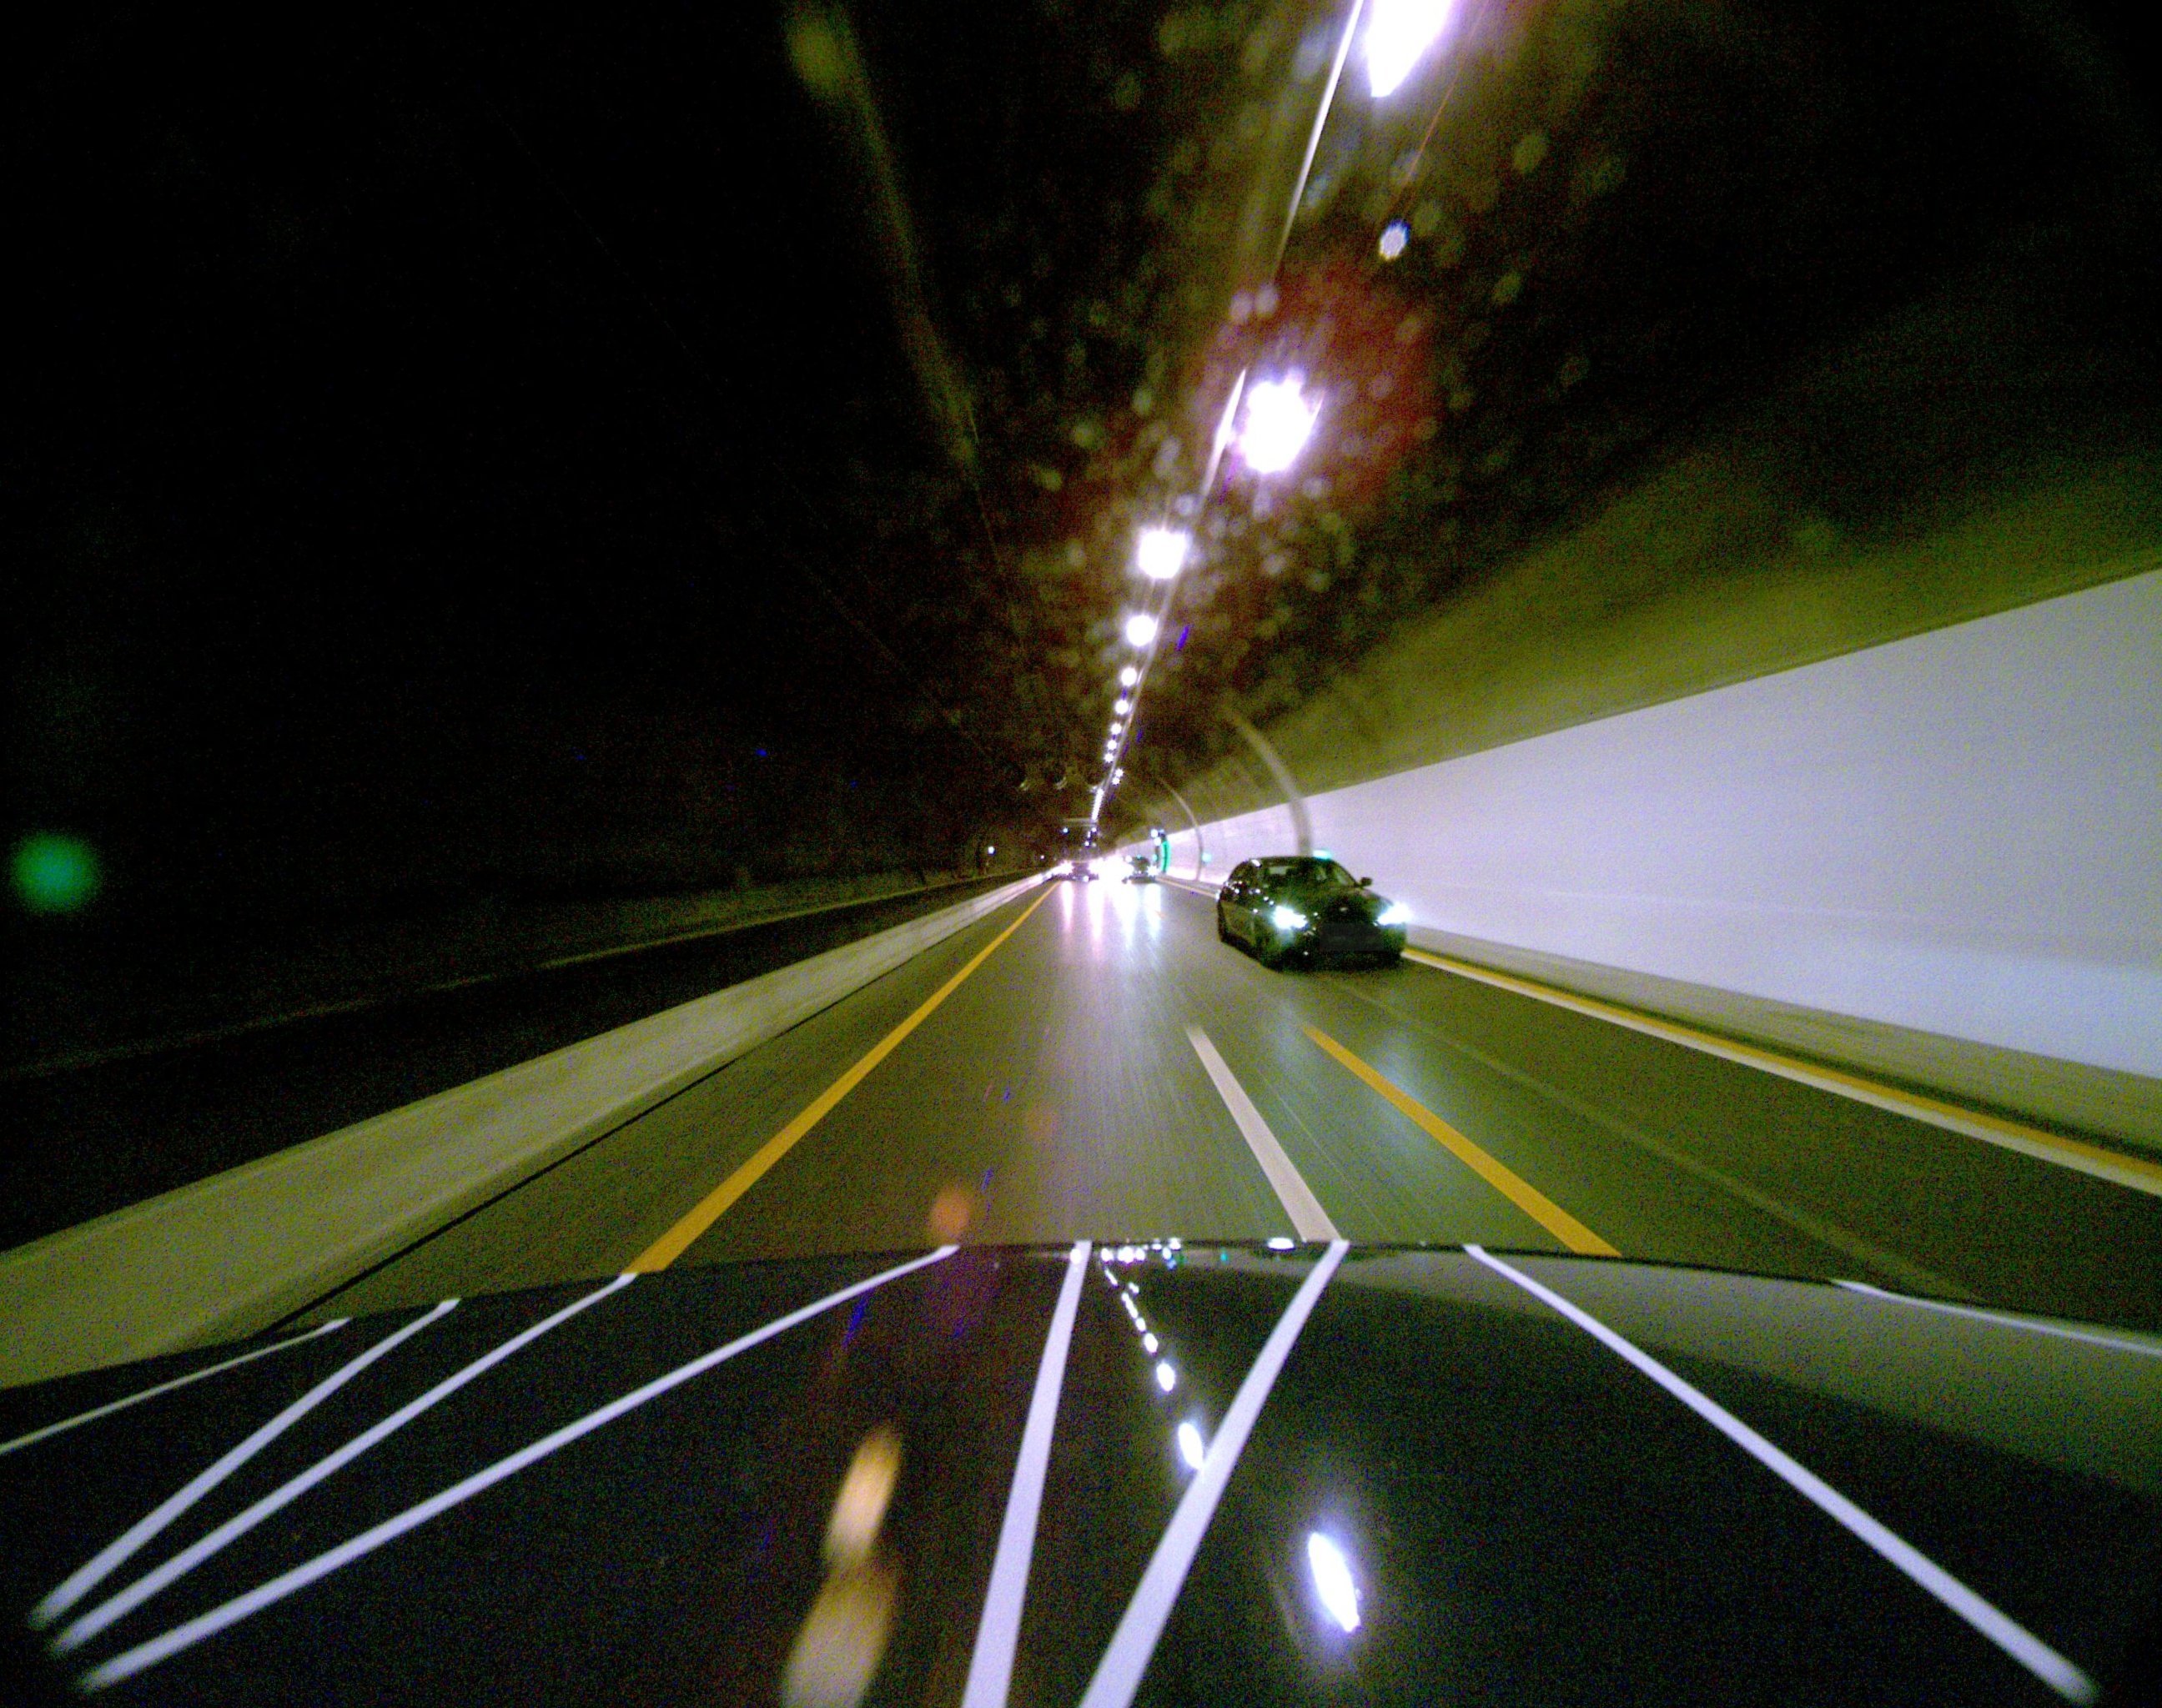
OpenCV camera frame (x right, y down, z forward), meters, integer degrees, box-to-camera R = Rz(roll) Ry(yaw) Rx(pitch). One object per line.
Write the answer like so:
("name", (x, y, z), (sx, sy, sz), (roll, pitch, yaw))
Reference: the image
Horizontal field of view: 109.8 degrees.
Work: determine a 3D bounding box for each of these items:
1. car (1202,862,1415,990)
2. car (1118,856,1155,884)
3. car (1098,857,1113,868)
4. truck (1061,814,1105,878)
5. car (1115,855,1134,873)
("car", (3.172, 0.905, 11.725), (1.782, 1.430, 4.882), (-2, 0, 0))
("car", (3.141, 0.871, 43.997), (1.782, 1.430, 4.882), (-2, 0, 0))
("car", (3.404, 1.138, 107.228), (1.909, 1.412, 4.060), (-2, 0, -1))
("truck", (0.131, -0.530, 53.706), (2.742, 4.127, 8.100), (-2, 0, 0))
("car", (3.816, 0.842, 67.533), (1.531, 1.508, 2.651), (-2, 0, 1))
